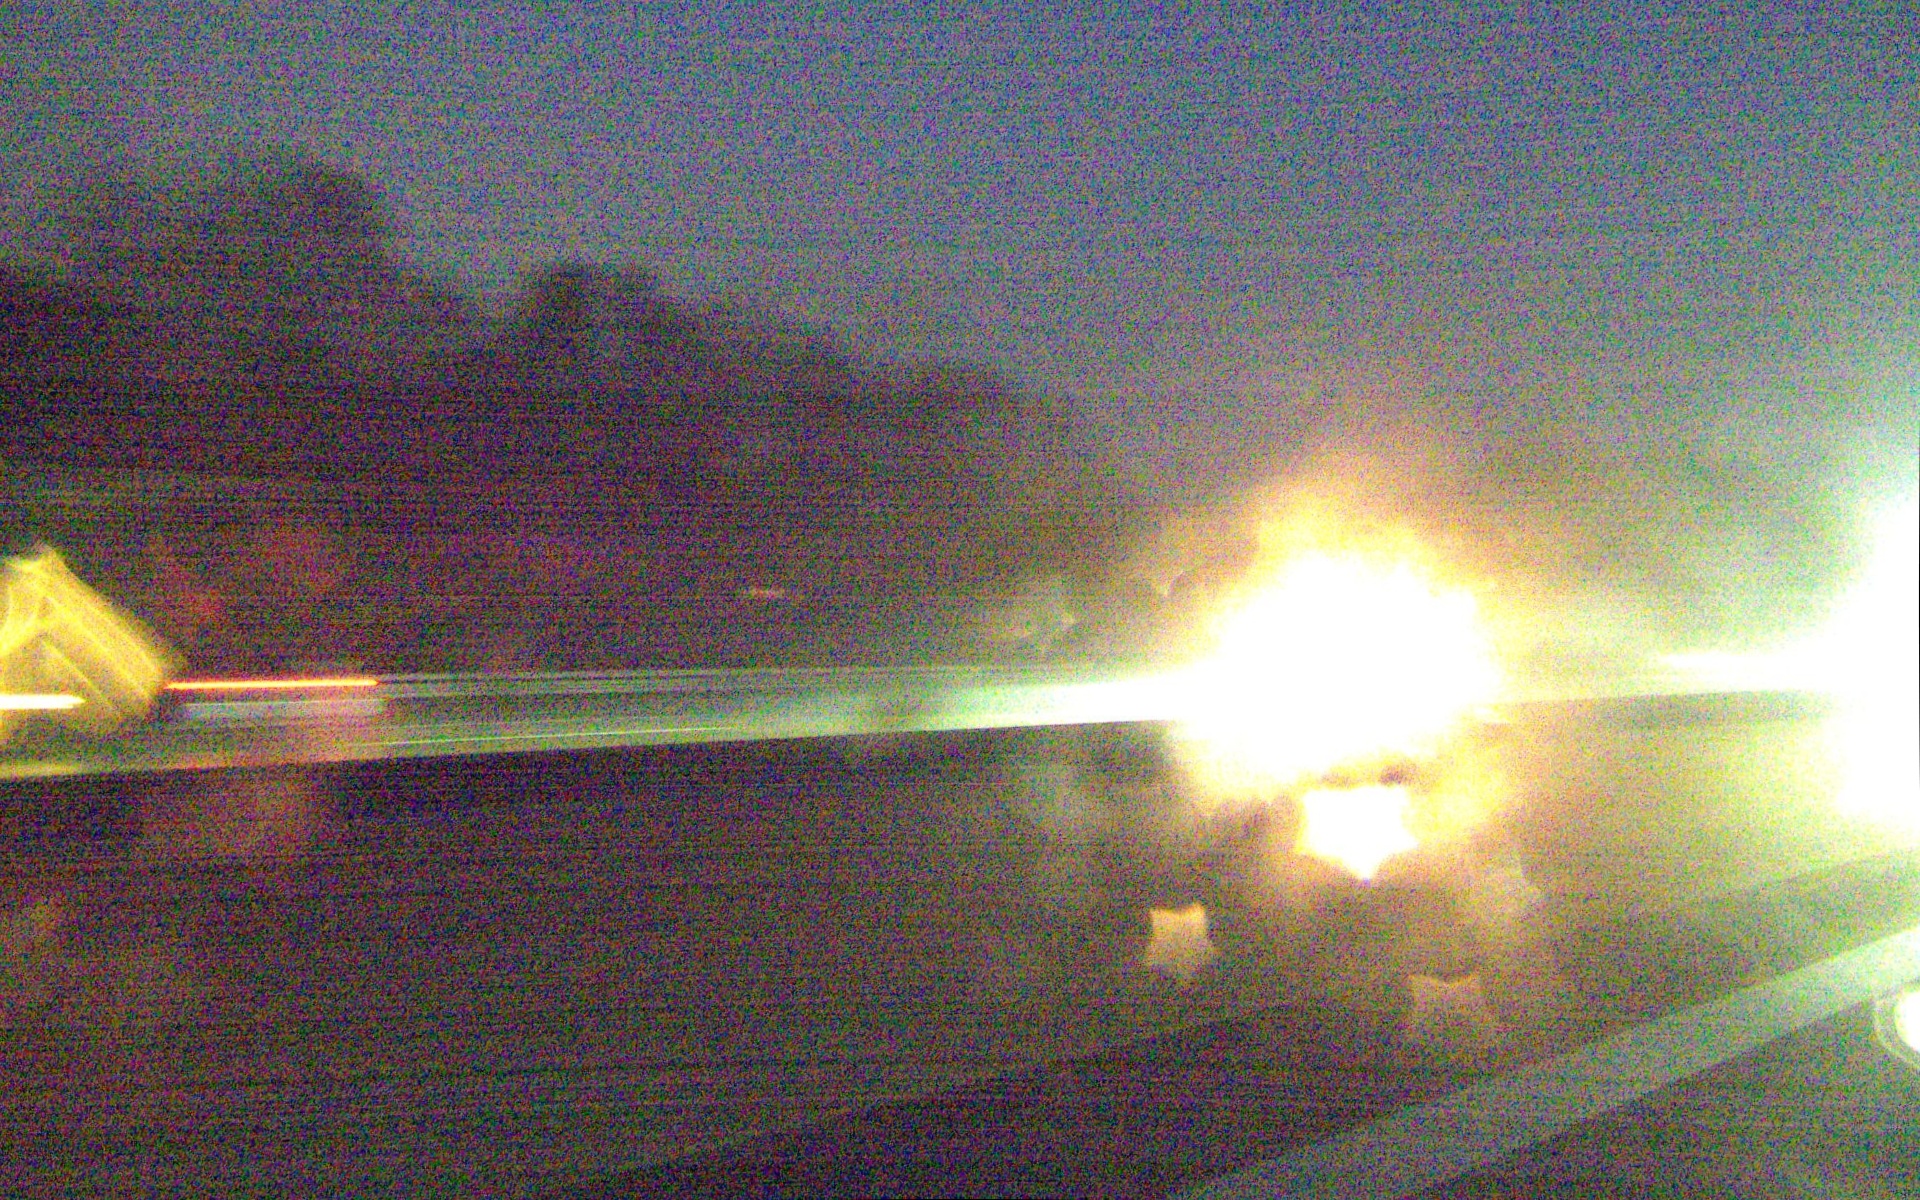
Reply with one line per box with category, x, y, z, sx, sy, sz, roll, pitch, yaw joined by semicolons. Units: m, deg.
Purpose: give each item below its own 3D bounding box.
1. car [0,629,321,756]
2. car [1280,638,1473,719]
car;-12.344;1.329;15.361;4.196;1.737;1.984;1;-2;-30
car;10.051;1.808;24.187;4.537;1.782;1.984;1;-2;-30
